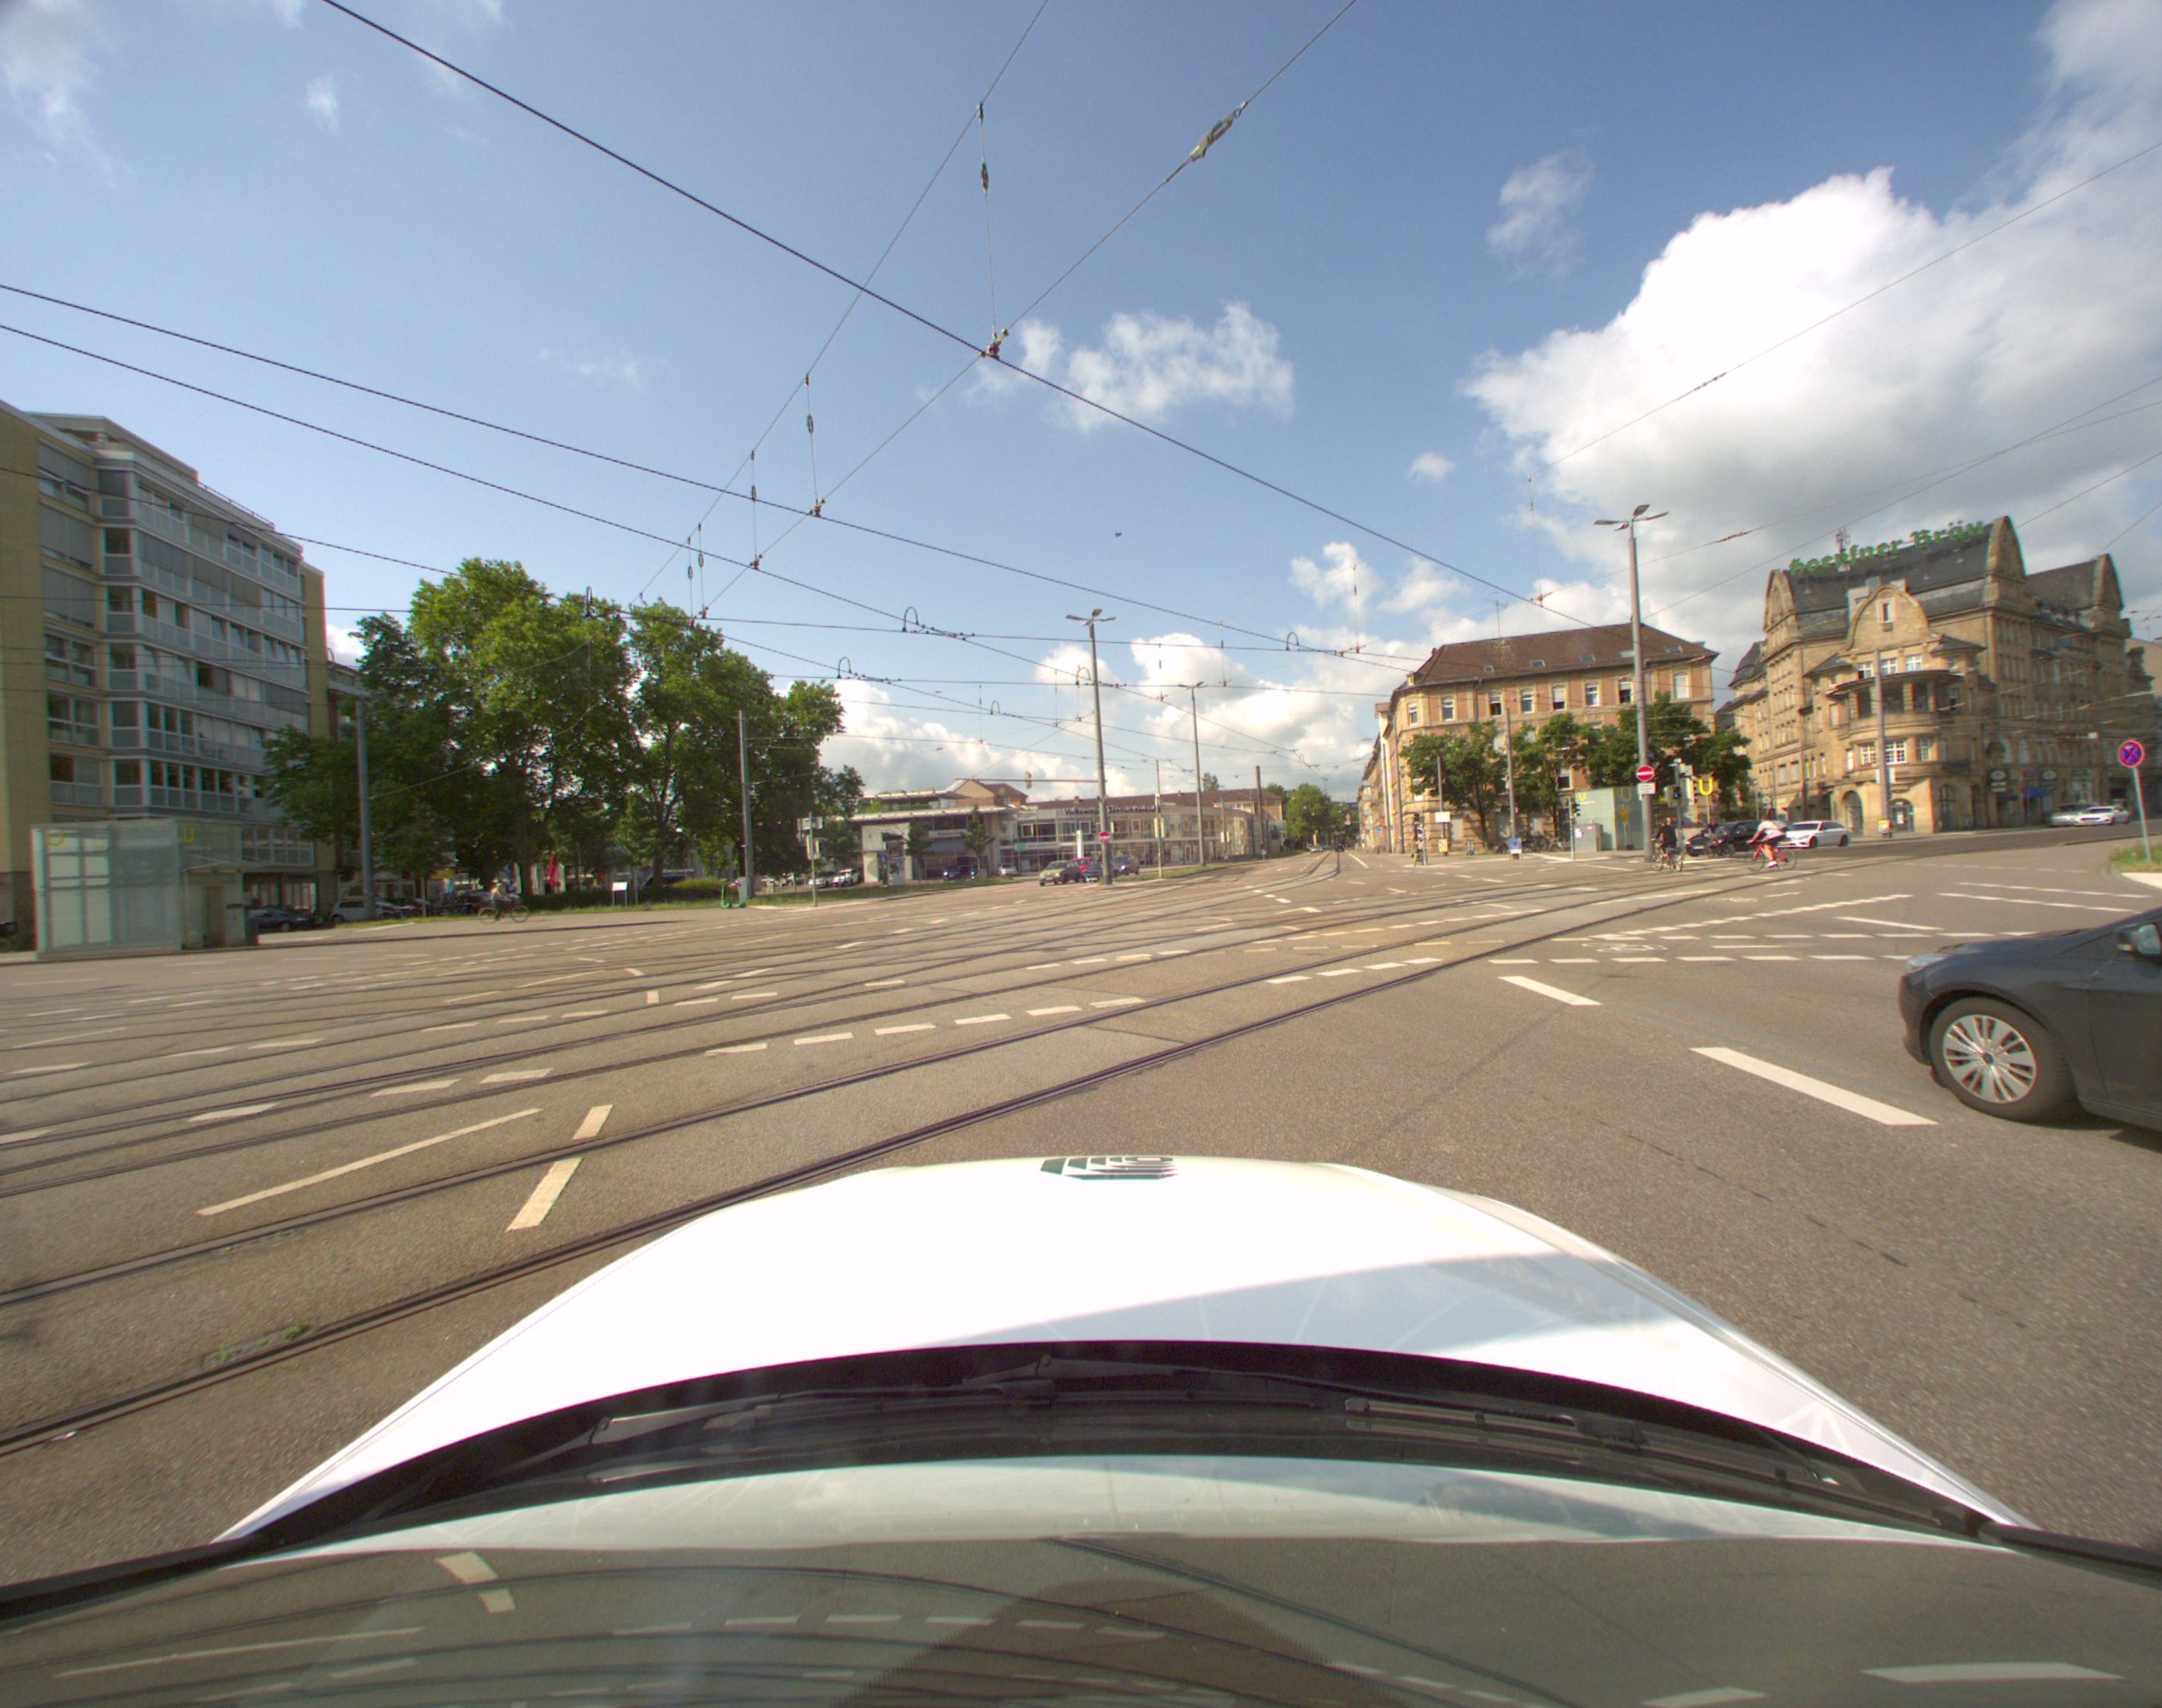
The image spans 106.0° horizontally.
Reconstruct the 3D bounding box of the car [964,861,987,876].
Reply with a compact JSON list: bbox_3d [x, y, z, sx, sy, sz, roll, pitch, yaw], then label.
[{"bbox_3d":[-11.137,1.508,86.176,1.915,1.445,3.996,-3,0,-2],"label":"car"}]

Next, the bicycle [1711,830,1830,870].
[{"bbox_3d":[20.182,-0.085,23.974,0.989,1.027,3.110,2,-2,2],"label":"bicycle"}]

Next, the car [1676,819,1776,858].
[{"bbox_3d":[30.531,-0.689,38.548,4.347,1.739,1.984,1,0,-25],"label":"car"}]

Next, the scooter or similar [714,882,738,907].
[{"bbox_3d":[-17.129,1.960,39.260,0.934,1.157,0.377,3,1,-42],"label":"scooter or similar"}]

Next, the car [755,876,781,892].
[{"bbox_3d":[-33.844,3.202,88.110,1.679,1.596,3.991,0,0,-7],"label":"car"}]

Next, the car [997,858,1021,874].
[{"bbox_3d":[-7.715,1.277,87.399,1.911,1.552,4.005,-3,0,4],"label":"car"}]

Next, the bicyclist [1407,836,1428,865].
[{"bbox_3d":[20.033,-0.216,48.443,0.776,1.658,1.205,-1,0,40],"label":"bicyclist"}]

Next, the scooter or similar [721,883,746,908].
[{"bbox_3d":[-16.625,1.964,38.962,0.377,1.157,0.935,5,1,37],"label":"scooter or similar"}]

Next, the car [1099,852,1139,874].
[{"bbox_3d":[2.989,0.663,62.684,1.977,1.552,4.019,-3,0,18],"label":"car"}]

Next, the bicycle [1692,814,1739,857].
[{"bbox_3d":[26.769,-0.749,34.388,0.727,1.777,1.637,0,0,-1],"label":"bicycle"}]

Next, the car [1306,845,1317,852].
[{"bbox_3d":[47.525,-1.220,168.067,1.979,1.332,4.016,-3,0,14],"label":"car"}]

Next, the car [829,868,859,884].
[{"bbox_3d":[-25.449,2.335,87.644,2.062,1.604,3.998,-3,0,-1],"label":"car"}]

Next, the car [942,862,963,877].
[{"bbox_3d":[-13.648,1.645,86.636,1.918,1.445,3.990,-3,0,-7],"label":"car"}]

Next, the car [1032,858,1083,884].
[{"bbox_3d":[-1.353,1.010,49.544,1.806,1.513,4.019,0,0,19],"label":"car"}]

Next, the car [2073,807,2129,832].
[{"bbox_3d":[75.898,-2.562,60.585,4.008,1.662,1.836,0,0,-27],"label":"car"}]

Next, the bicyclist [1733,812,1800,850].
[{"bbox_3d":[20.200,-0.668,24.030,0.986,1.028,1.215,1,-2,2],"label":"bicyclist"}]

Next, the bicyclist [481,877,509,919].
[{"bbox_3d":[-25.027,1.868,34.777,0.829,1.745,0.706,1,0,-26],"label":"bicyclist"}]

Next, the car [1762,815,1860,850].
[{"bbox_3d":[36.892,-1.078,41.150,4.692,1.595,1.984,-2,1,-24],"label":"car"}]

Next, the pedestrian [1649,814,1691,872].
[{"bbox_3d":[18.973,-0.343,26.258,0.983,1.841,1.002,0,0,28],"label":"pedestrian"}]

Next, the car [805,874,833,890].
[{"bbox_3d":[-28.270,2.959,87.963,1.990,1.574,3.993,0,0,-5],"label":"car"}]

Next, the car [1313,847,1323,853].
[{"bbox_3d":[52.436,-0.896,180.451,1.979,1.491,4.016,-1,0,15],"label":"car"}]

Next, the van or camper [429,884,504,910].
[{"bbox_3d":[-62.747,4.376,83.211,5.850,2.469,2.396,0,0,4],"label":"van or camper"}]

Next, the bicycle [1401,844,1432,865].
[{"bbox_3d":[19.912,0.040,48.301,0.889,1.170,2.697,-1,1,40],"label":"bicycle"}]

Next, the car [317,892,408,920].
[{"bbox_3d":[-43.515,3.145,49.387,3.569,1.530,1.990,0,0,-15],"label":"car"}]

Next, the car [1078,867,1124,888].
[{"bbox_3d":[1.225,1.373,48.817,1.608,1.161,4.019,0,0,19],"label":"car"}]

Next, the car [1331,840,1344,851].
[{"bbox_3d":[49.406,-1.688,156.652,1.976,2.013,4.021,-3,0,21],"label":"car"}]

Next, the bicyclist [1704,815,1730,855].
[{"bbox_3d":[26.770,-0.792,34.271,0.570,1.671,0.656,0,0,-1],"label":"bicyclist"}]

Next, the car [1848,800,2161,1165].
[{"bbox_3d":[5.363,0.513,2.646,1.761,1.528,4.256,-2,1,1],"label":"car"}]

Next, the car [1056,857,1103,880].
[{"bbox_3d":[-0.066,0.955,55.606,1.977,1.519,4.019,0,0,19],"label":"car"}]

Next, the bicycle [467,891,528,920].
[{"bbox_3d":[-24.910,2.190,34.813,1.996,1.127,0.783,0,0,-26],"label":"bicycle"}]

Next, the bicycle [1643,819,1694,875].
[{"bbox_3d":[19.067,-0.220,26.476,0.996,1.725,2.484,0,0,28],"label":"bicycle"}]
